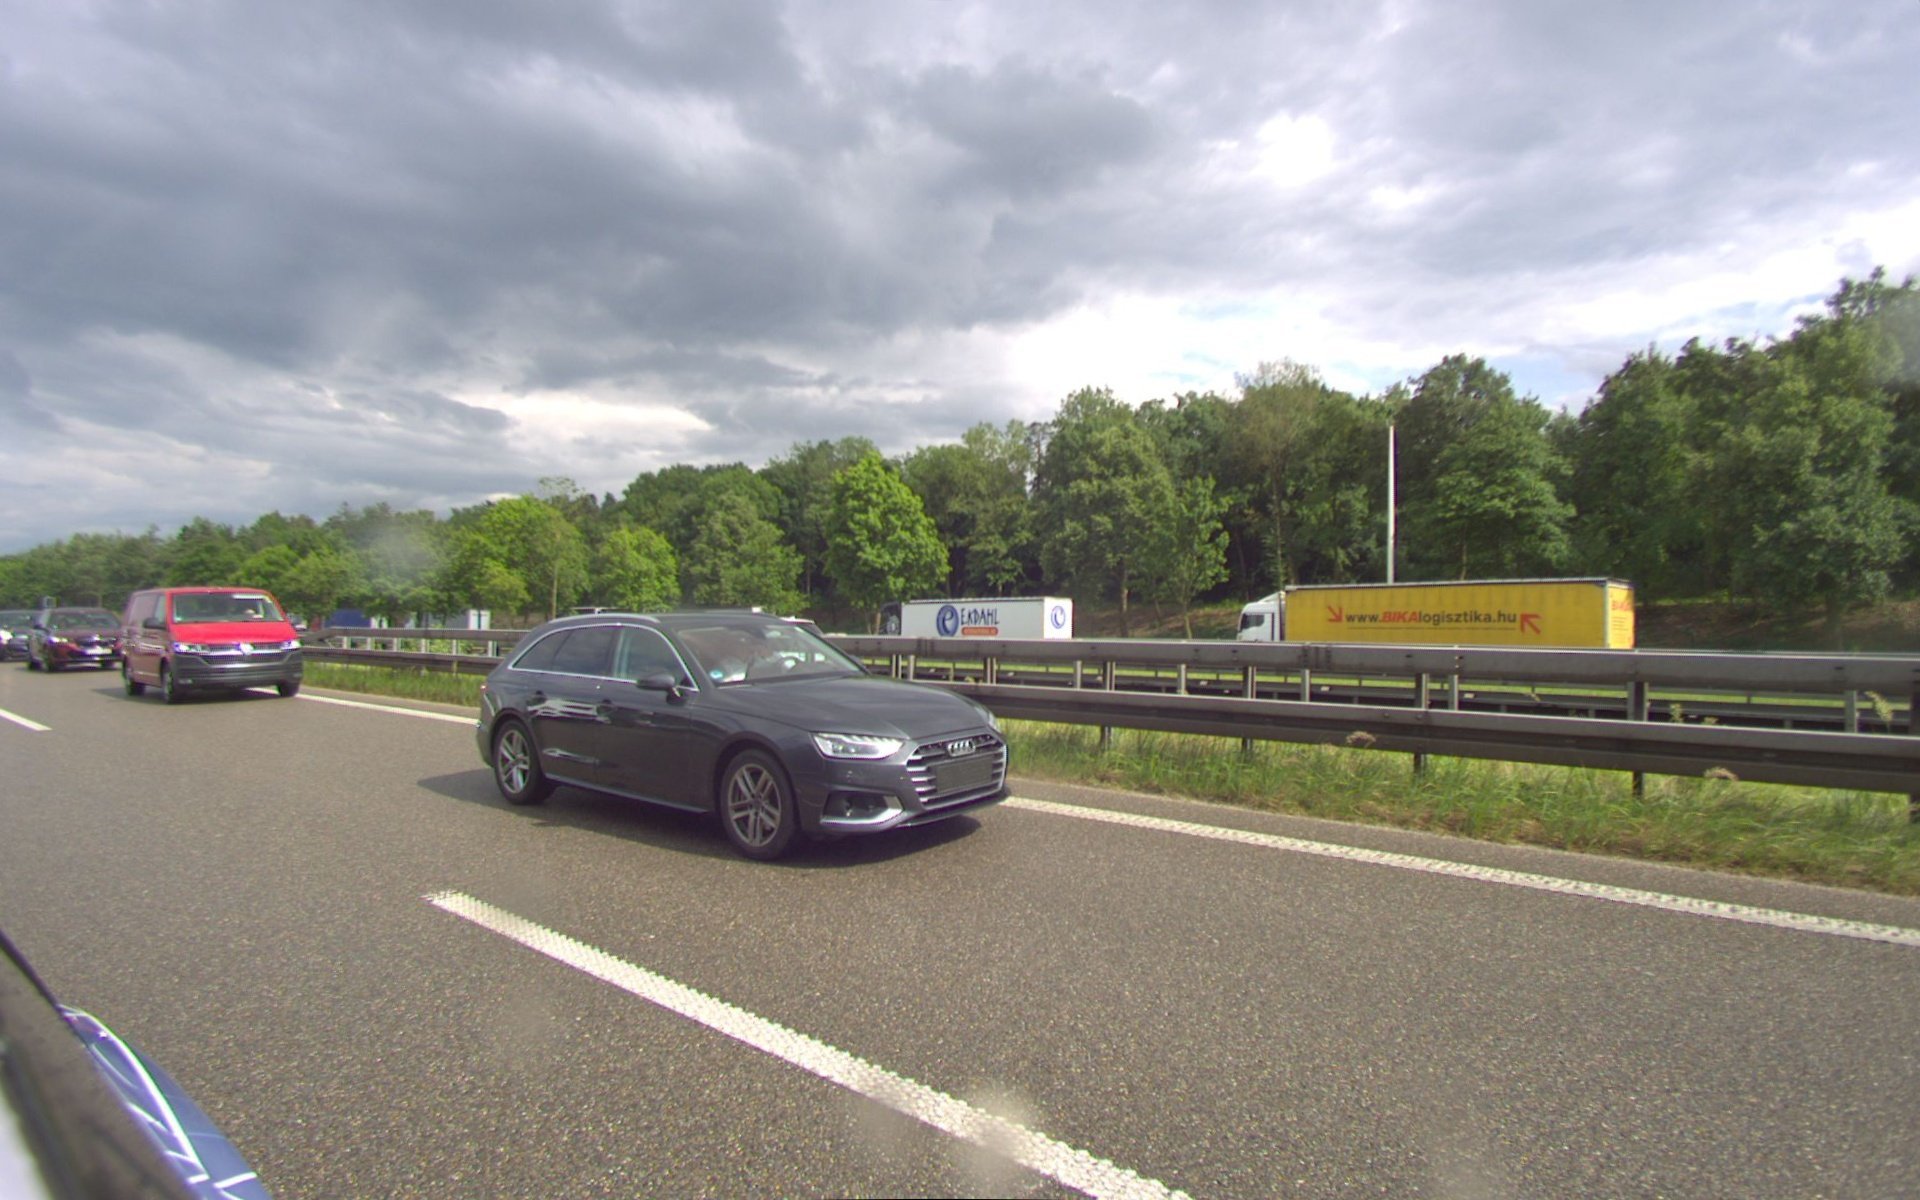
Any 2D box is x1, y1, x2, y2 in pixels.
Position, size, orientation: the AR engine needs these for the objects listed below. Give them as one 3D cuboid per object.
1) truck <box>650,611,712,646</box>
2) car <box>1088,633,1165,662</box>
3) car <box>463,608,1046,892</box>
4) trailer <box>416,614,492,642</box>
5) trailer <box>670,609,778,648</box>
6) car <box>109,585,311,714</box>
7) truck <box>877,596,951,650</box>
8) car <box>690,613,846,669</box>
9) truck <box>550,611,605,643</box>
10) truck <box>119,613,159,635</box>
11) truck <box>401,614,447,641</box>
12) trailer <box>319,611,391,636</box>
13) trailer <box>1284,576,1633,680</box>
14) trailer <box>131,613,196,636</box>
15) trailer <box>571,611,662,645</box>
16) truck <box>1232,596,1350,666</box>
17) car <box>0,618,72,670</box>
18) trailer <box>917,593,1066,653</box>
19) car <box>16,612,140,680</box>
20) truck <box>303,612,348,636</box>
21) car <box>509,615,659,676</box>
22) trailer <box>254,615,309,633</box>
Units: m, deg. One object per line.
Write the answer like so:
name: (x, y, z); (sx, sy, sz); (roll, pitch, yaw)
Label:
truck: (-26.128, 2.648, 94.608); (5.596, 3.208, 3.010); (-1, -3, 42)
car: (9.312, 2.649, 56.863); (1.871, 1.514, 4.005); (2, -2, -42)
car: (-1.699, 0.790, 7.217); (4.464, 1.422, 1.702); (-1, -1, 40)
trailer: (-61.979, 3.399, 123.716); (12.630, 3.296, 3.154); (-1, -2, 38)
trailer: (-21.098, 2.527, 89.715); (12.172, 3.217, 2.987); (-1, -2, 42)
car: (-13.389, 0.800, 17.953); (4.747, 2.000, 1.871); (-1, -1, 40)
truck: (-3.262, 1.659, 71.046); (2.136, 3.648, 5.584); (2, -3, -42)
car: (-5.231, 1.040, 27.223); (4.408, 1.347, 1.783); (-1, 0, 41)
truck: (-40.562, 2.877, 107.101); (6.531, 3.275, 2.549); (-1, -2, 40)
truck: (-134.492, 3.928, 165.736); (6.307, 3.509, 2.674); (-1, -2, 26)
truck: (-68.094, 3.465, 128.529); (5.384, 3.280, 3.143); (-1, -3, 38)
trailer: (-82.510, 3.195, 137.883); (13.373, 3.296, 3.051); (-1, -2, 34)
trailer: (20.029, 1.048, 42.372); (1.967, 3.723, 13.688); (0, 0, -37)
trailer: (-127.971, 3.876, 162.501); (13.351, 3.539, 2.682); (0, -2, 27)
trailer: (-34.831, 2.786, 102.236); (12.639, 3.296, 2.578); (-1, -3, 40)
truck: (15.642, 1.400, 48.132); (1.950, 3.121, 5.087); (-1, 0, -37)
car: (-30.715, 1.395, 33.163); (4.050, 1.578, 1.871); (-1, -1, 40)
trailer: (1.774, 1.508, 65.470); (2.156, 3.627, 11.733); (2, -2, -42)
car: (-23.581, 1.166, 27.015); (4.292, 1.682, 1.871); (-1, -1, 40)
truck: (-89.398, 3.352, 142.502); (6.081, 3.280, 3.047); (0, -3, 34)
car: (-9.350, 1.060, 25.031); (3.998, 1.347, 1.783); (-1, 0, 41)
trailer: (-100.045, 3.483, 149.137); (9.838, 2.594, 2.512); (-1, -1, 29)
